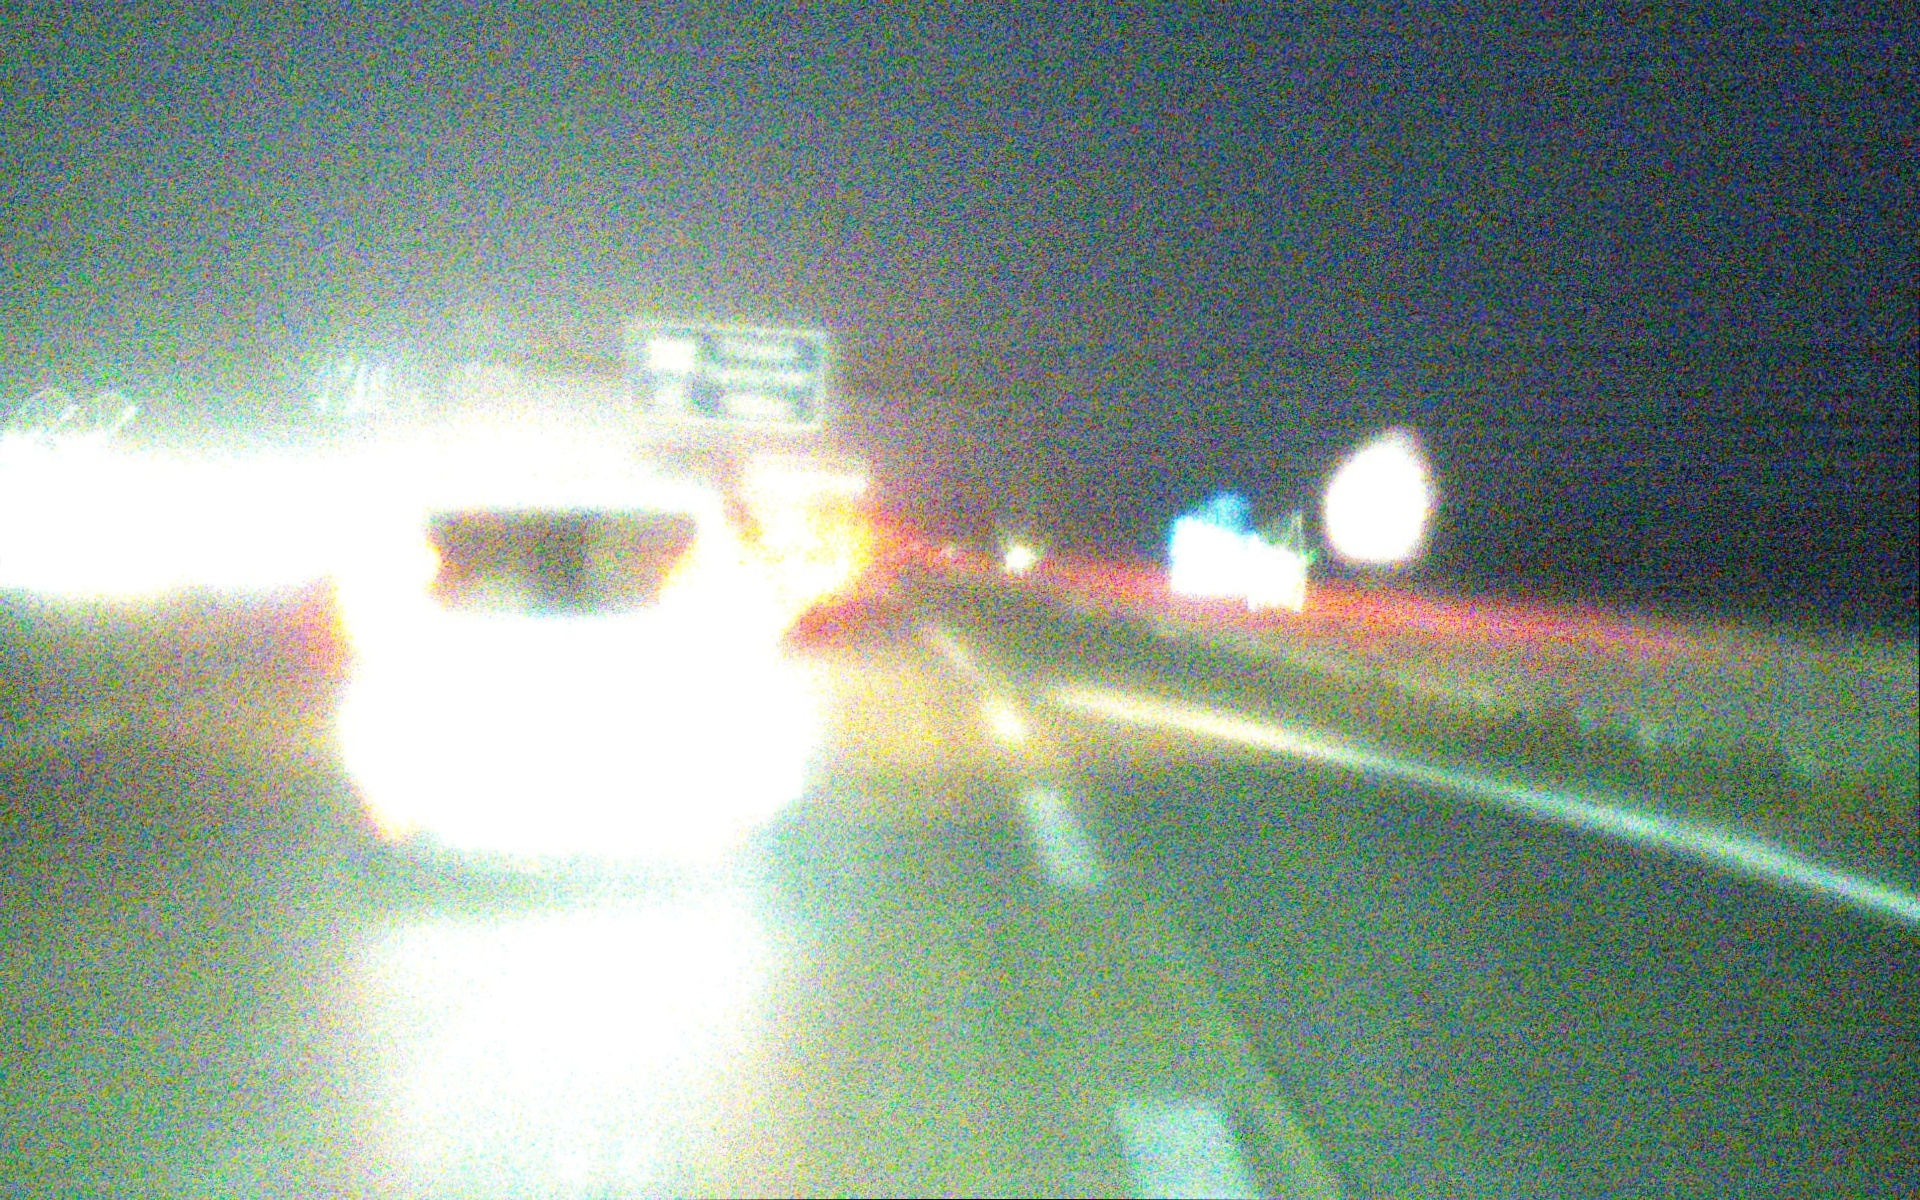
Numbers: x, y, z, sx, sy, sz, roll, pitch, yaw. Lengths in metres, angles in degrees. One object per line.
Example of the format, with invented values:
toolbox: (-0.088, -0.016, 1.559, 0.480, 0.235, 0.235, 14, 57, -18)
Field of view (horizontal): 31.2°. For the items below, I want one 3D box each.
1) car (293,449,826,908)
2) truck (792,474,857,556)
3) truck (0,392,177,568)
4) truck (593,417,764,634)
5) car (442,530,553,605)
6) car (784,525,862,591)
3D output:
car: (-1.708, 0.287, 16.362, 1.953, 1.786, 5.124, 2, 1, -1)
truck: (-8.622, -5.289, 217.397, 3.823, 4.898, 11.607, 2, 1, -3)
truck: (-28.889, -3.863, 112.106, 4.339, 5.123, 11.032, 5, 1, -3)
truck: (-7.714, -2.015, 96.204, 4.167, 5.525, 13.076, 2, 1, -3)
car: (-11.435, -0.812, 85.303, 1.994, 1.701, 4.195, 4, 1, 1)
car: (-3.732, -1.143, 93.048, 1.993, 1.701, 4.196, 2, 1, -3)
